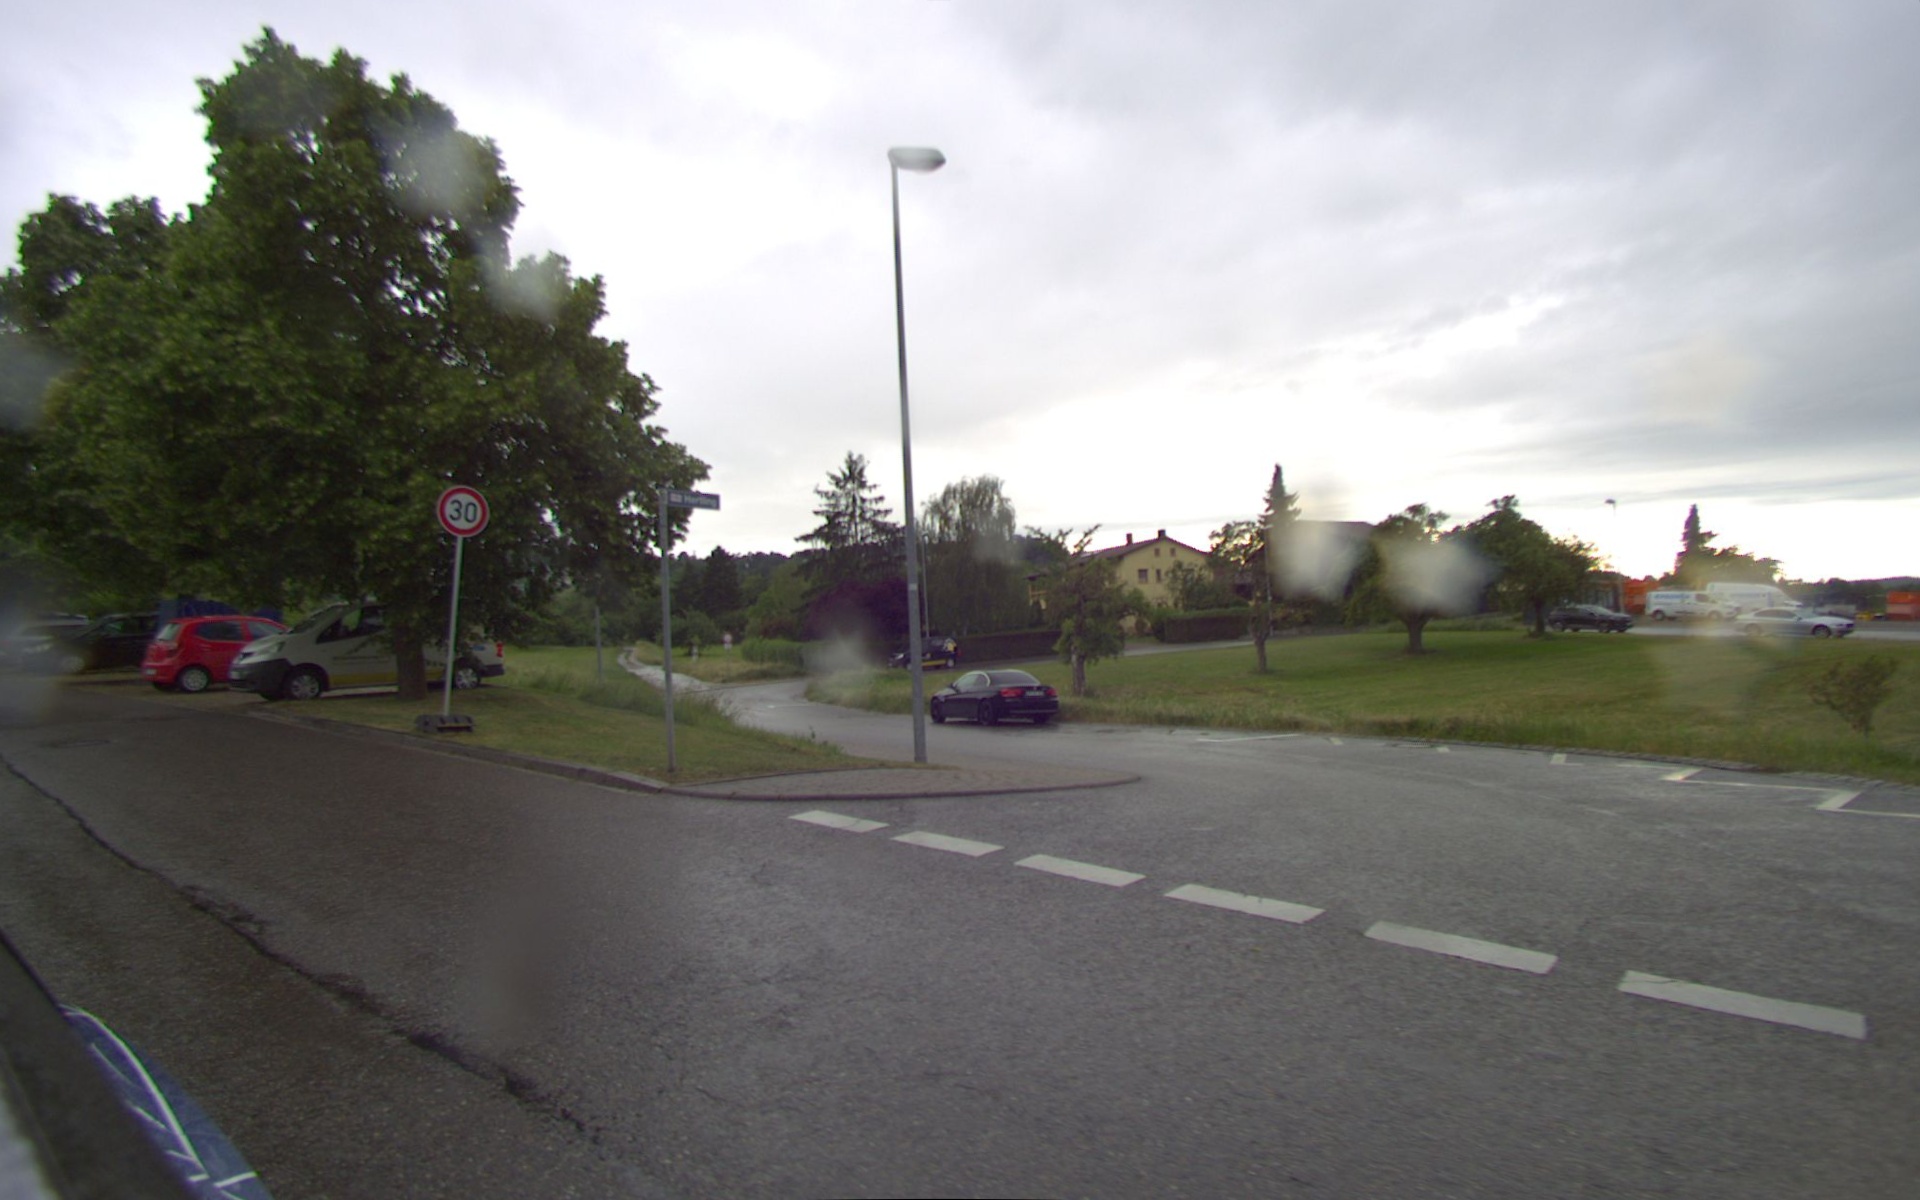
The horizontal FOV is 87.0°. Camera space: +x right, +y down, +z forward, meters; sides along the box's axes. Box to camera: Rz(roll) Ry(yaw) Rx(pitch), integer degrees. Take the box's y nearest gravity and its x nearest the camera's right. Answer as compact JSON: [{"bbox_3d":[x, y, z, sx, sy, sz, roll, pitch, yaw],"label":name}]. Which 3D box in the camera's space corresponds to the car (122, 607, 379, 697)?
[{"bbox_3d":[-15.059,1.059,21.714,1.750,1.735,4.161,-1,-2,33],"label":"car"}]

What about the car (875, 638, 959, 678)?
[{"bbox_3d":[-2.479,3.365,58.347,4.426,2.237,1.935,3,-4,-31],"label":"car"}]

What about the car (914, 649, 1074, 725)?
[{"bbox_3d":[0.754,2.257,25.900,1.966,1.767,4.396,2,-6,-31],"label":"car"}]

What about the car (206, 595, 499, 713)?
[{"bbox_3d":[-11.052,0.936,18.643,1.861,1.920,4.254,-1,-2,42],"label":"car"}]

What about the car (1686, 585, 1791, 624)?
[{"bbox_3d":[54.018,0.327,70.372,1.966,2.589,5.447,1,-2,-31],"label":"car"}]

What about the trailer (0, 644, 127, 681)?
[{"bbox_3d":[-28.030,1.884,30.682,1.995,0.968,3.908,-2,-1,34],"label":"trailer"}]

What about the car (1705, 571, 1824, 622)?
[{"bbox_3d":[56.507,-0.158,71.261,1.965,3.455,6.321,1,-2,-25],"label":"car"}]

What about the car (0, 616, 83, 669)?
[{"bbox_3d":[-32.346,1.395,33.694,2.038,1.735,4.333,0,-2,32],"label":"car"}]

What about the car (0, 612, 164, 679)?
[{"bbox_3d":[-25.803,1.250,29.265,2.023,1.734,4.035,-1,0,38],"label":"car"}]

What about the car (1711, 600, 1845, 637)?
[{"bbox_3d":[40.477,0.966,50.225,2.251,1.661,4.634,2,-3,-26],"label":"car"}]

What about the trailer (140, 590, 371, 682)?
[{"bbox_3d":[-16.741,0.841,24.252,1.771,1.999,4.174,-1,-2,36],"label":"trailer"}]

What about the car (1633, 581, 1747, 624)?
[{"bbox_3d":[48.838,0.218,67.887,1.966,2.722,5.828,-1,-1,-32],"label":"car"}]

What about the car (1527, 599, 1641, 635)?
[{"bbox_3d":[36.928,1.038,60.083,2.251,1.990,5.440,2,-2,-26],"label":"car"}]

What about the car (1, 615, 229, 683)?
[{"bbox_3d":[-23.316,1.276,28.089,1.803,1.602,4.576,-1,0,36],"label":"car"}]
